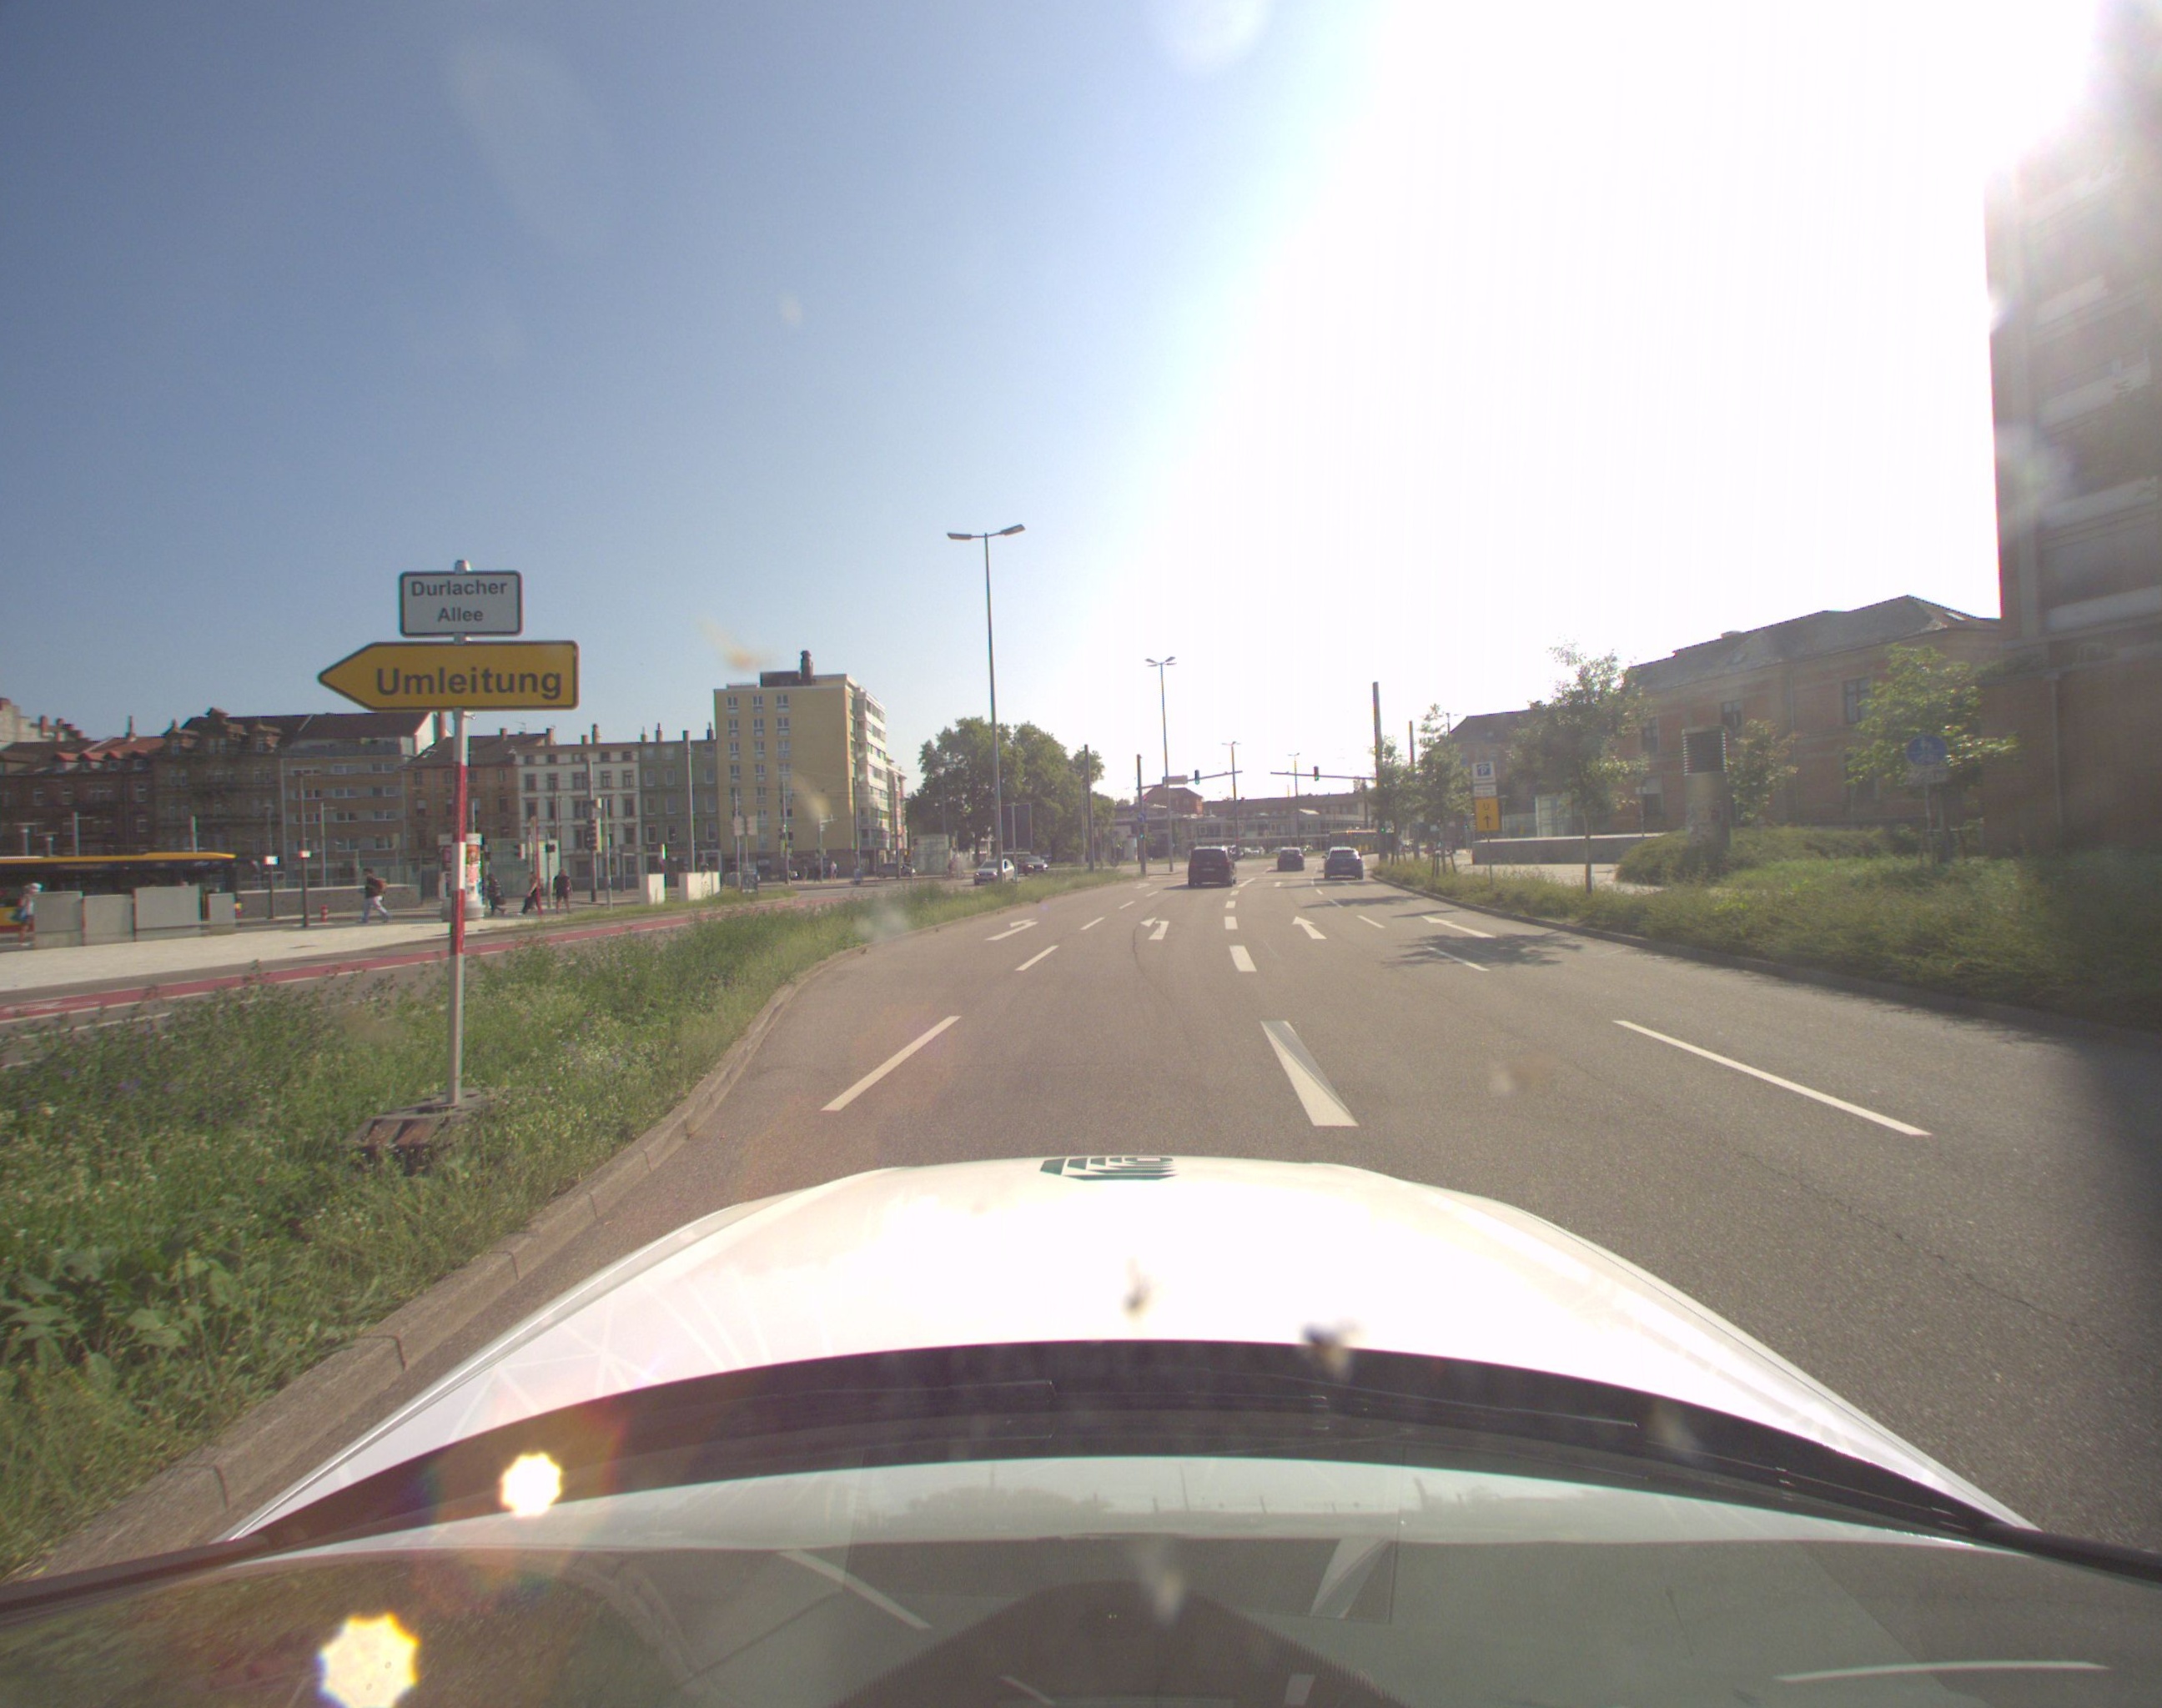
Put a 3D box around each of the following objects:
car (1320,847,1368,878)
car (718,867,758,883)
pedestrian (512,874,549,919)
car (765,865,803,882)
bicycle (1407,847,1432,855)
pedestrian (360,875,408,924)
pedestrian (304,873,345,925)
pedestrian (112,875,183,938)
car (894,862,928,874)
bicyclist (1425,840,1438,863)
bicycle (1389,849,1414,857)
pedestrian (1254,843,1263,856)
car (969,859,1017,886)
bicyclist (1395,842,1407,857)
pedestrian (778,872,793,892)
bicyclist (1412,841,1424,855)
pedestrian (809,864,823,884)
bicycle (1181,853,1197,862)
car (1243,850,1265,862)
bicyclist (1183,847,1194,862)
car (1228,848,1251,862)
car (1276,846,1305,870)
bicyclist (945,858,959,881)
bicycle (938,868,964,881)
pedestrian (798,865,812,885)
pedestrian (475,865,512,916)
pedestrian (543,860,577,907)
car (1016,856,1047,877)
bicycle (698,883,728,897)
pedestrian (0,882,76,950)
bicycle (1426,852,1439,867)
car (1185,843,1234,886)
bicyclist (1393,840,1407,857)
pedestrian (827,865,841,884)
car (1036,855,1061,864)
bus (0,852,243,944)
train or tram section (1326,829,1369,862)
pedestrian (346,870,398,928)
[{"bbox_3d":[13.138,0.388,40.881,1.813,1.428,4.427,-3,0,12],"label":"car"},{"bbox_3d":[-36.972,2.269,87.705,4.491,1.678,2.013,-2,0,39],"label":"car"},{"bbox_3d":[-20.127,1.556,29.780,0.995,1.559,0.855,-2,-1,-42],"label":"pedestrian"},{"bbox_3d":[-31.918,2.128,87.551,4.492,1.678,2.012,-2,0,43],"label":"car"},{"bbox_3d":[41.578,-0.366,100.063,2.618,0.964,1.089,-2,0,-10],"label":"bicycle"},{"bbox_3d":[-23.554,1.536,27.519,0.977,1.563,0.871,-3,-1,27],"label":"pedestrian"},{"bbox_3d":[-27.329,1.606,29.412,0.773,1.800,0.702,-2,-1,6],"label":"pedestrian"},{"bbox_3d":[-26.823,1.497,23.412,0.983,1.705,0.866,-3,0,1],"label":"pedestrian"},{"bbox_3d":[-22.419,1.834,107.617,4.149,1.354,1.575,-2,0,-5],"label":"car"},{"bbox_3d":[23.351,-0.165,54.206,0.713,1.513,1.010,-3,-1,24],"label":"bicyclist"},{"bbox_3d":[38.966,-0.114,99.090,2.618,0.964,1.089,-2,0,-10],"label":"bicycle"},{"bbox_3d":[21.368,-0.571,98.019,0.770,1.503,0.714,-2,0,26],"label":"pedestrian"},{"bbox_3d":[-5.216,1.089,48.925,1.803,1.433,4.234,-2,0,8],"label":"car"},{"bbox_3d":[38.934,-0.534,99.086,0.934,1.800,1.089,-2,0,-9],"label":"bicyclist"},{"bbox_3d":[-25.856,2.482,71.324,0.920,1.690,0.921,-2,0,-3],"label":"pedestrian"},{"bbox_3d":[41.373,-0.725,100.023,0.934,1.680,1.089,-2,0,-9],"label":"bicyclist"},{"bbox_3d":[-23.429,1.767,72.080,0.920,1.690,0.921,-2,0,-3],"label":"pedestrian"},{"bbox_3d":[13.605,0.392,102.554,0.948,1.057,2.624,-2,0,30],"label":"bicycle"},{"bbox_3d":[23.138,0.226,108.670,1.599,1.475,4.025,-5,-1,29],"label":"car"},{"bbox_3d":[13.546,0.052,102.471,0.948,1.748,1.173,-2,0,30],"label":"bicyclist"},{"bbox_3d":[20.019,0.114,102.774,1.599,1.475,4.025,-5,-1,29],"label":"car"},{"bbox_3d":[14.551,0.240,56.763,1.813,1.535,4.428,-3,0,13],"label":"car"},{"bbox_3d":[-9.745,1.174,61.496,0.877,1.652,0.727,-2,0,3],"label":"bicyclist"},{"bbox_3d":[-9.830,1.550,61.495,1.805,0.932,0.727,-2,0,2],"label":"bicycle"},{"bbox_3d":[-24.507,1.881,72.305,0.920,1.690,0.921,-2,0,-3],"label":"pedestrian"},{"bbox_3d":[-21.491,1.330,29.805,0.789,1.800,0.785,-3,-1,30],"label":"pedestrian"},{"bbox_3d":[-20.465,1.141,32.008,0.773,1.800,0.702,-2,-1,6],"label":"pedestrian"},{"bbox_3d":[-4.116,0.999,67.392,1.697,1.617,4.439,-2,0,-15],"label":"car"},{"bbox_3d":[-26.532,2.581,58.706,1.805,0.932,0.727,-2,0,2],"label":"bicycle"},{"bbox_3d":[-27.571,1.621,21.477,0.983,1.672,0.866,-3,0,1],"label":"pedestrian"},{"bbox_3d":[23.360,0.355,54.155,0.713,0.960,1.932,-3,0,24],"label":"bicycle"},{"bbox_3d":[5.672,0.410,35.468,1.813,1.714,4.427,-1,0,12],"label":"car"},{"bbox_3d":[37.957,-0.624,96.960,0.938,2.024,1.084,-2,0,-23],"label":"bicyclist"},{"bbox_3d":[-21.845,1.795,72.102,0.920,1.690,0.921,-2,0,-3],"label":"pedestrian"},{"bbox_3d":[-5.907,0.994,148.789,4.541,1.522,1.684,-2,0,-45],"label":"car"},{"bbox_3d":[-39.496,1.694,29.718,2.682,3.108,12.291,-3,0,42],"label":"bus"},{"bbox_3d":[32.257,-1.093,98.274,2.629,3.699,10.656,-3,0,31],"label":"train or tram section"},{"bbox_3d":[-22.640,1.431,26.016,0.978,1.770,0.871,-3,-1,23],"label":"pedestrian"}]
